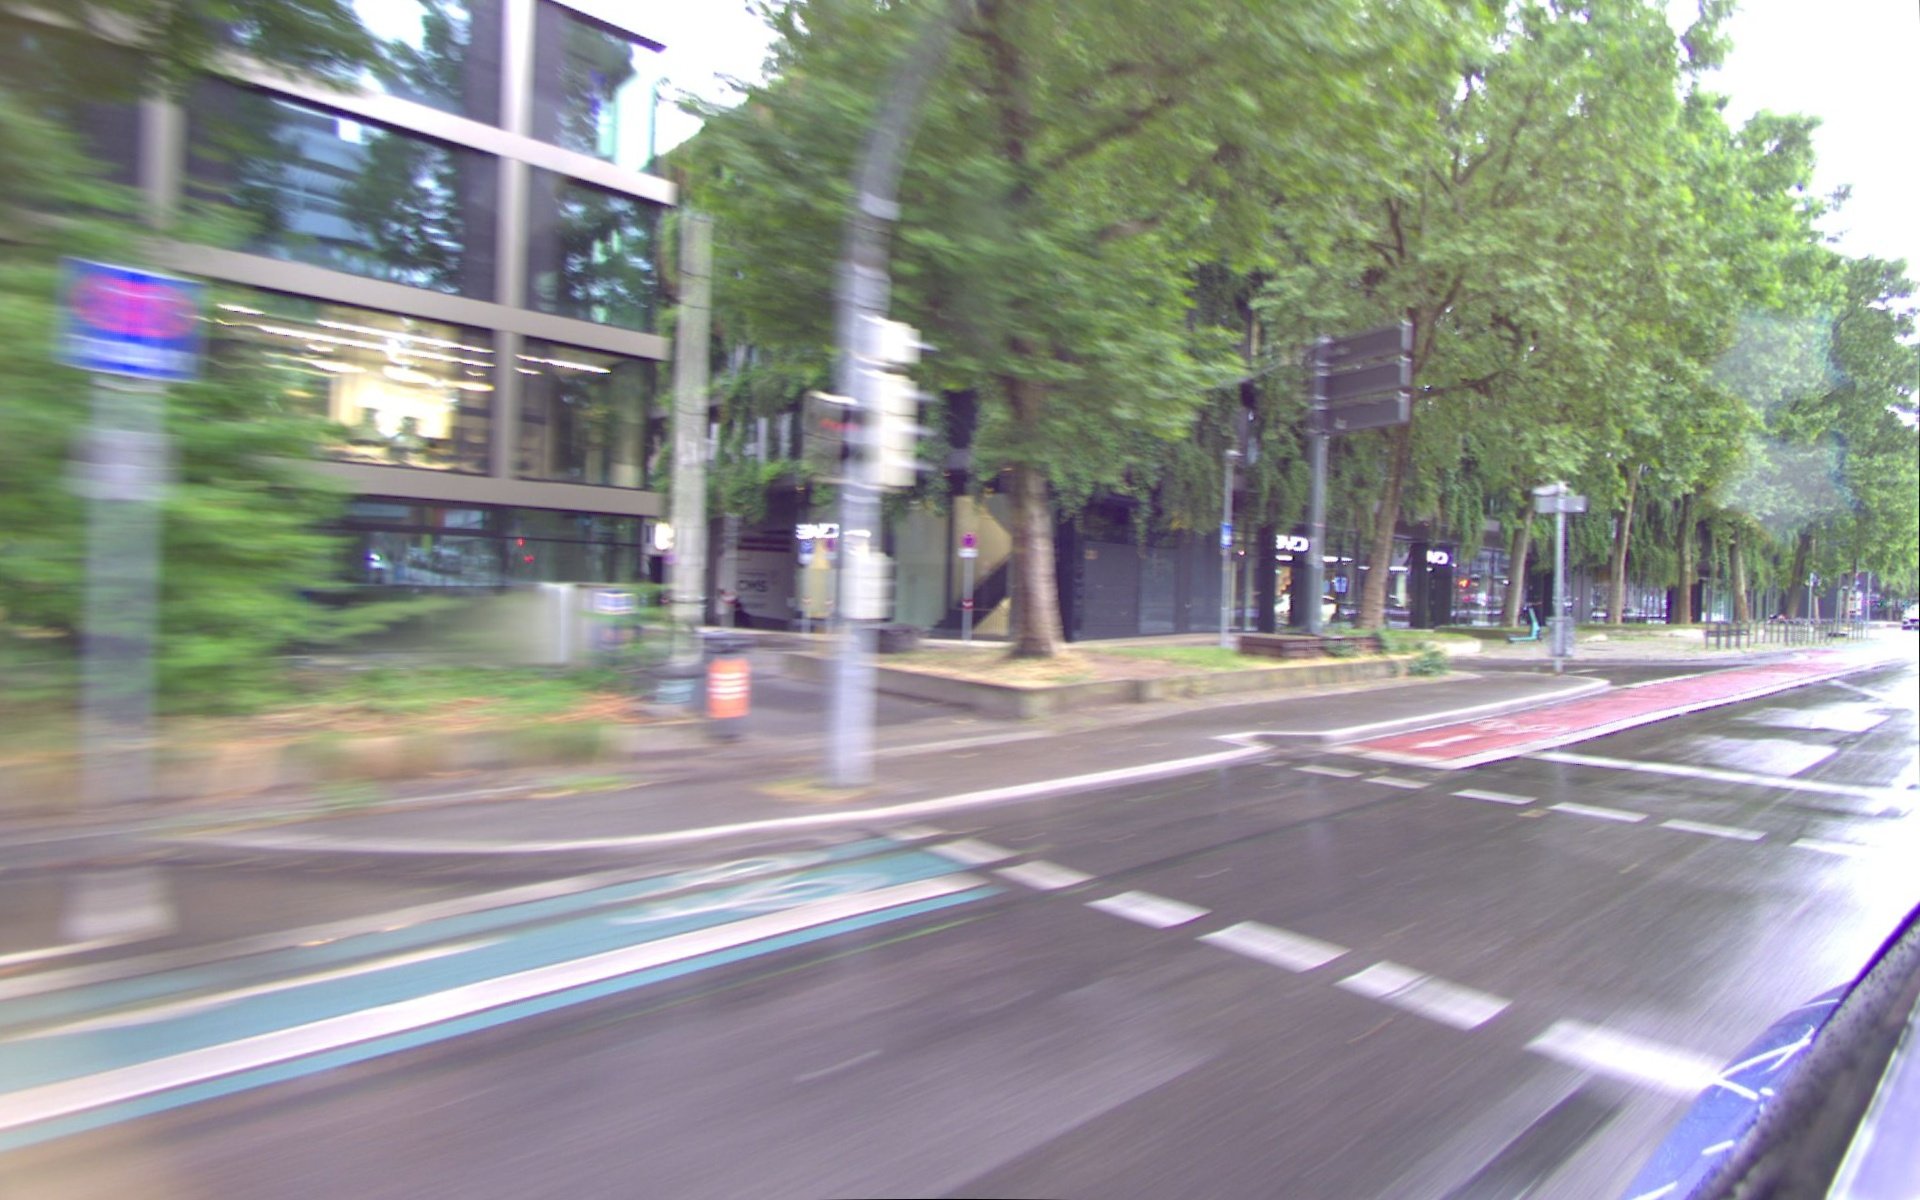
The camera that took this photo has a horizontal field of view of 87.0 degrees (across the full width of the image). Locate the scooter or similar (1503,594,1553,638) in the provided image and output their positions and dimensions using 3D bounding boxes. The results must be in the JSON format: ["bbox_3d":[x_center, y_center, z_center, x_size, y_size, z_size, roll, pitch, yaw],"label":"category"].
[{"bbox_3d":[17.000,0.472,30.308,1.165,1.298,0.535,0,0,9],"label":"scooter or similar"}]

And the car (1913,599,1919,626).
[{"bbox_3d":[65.012,0.815,67.376,4.520,1.758,1.930,-1,0,-42],"label":"car"}]

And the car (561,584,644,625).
[{"bbox_3d":[-14.801,0.192,41.783,1.814,1.609,3.991,-1,0,-43],"label":"car"}]
